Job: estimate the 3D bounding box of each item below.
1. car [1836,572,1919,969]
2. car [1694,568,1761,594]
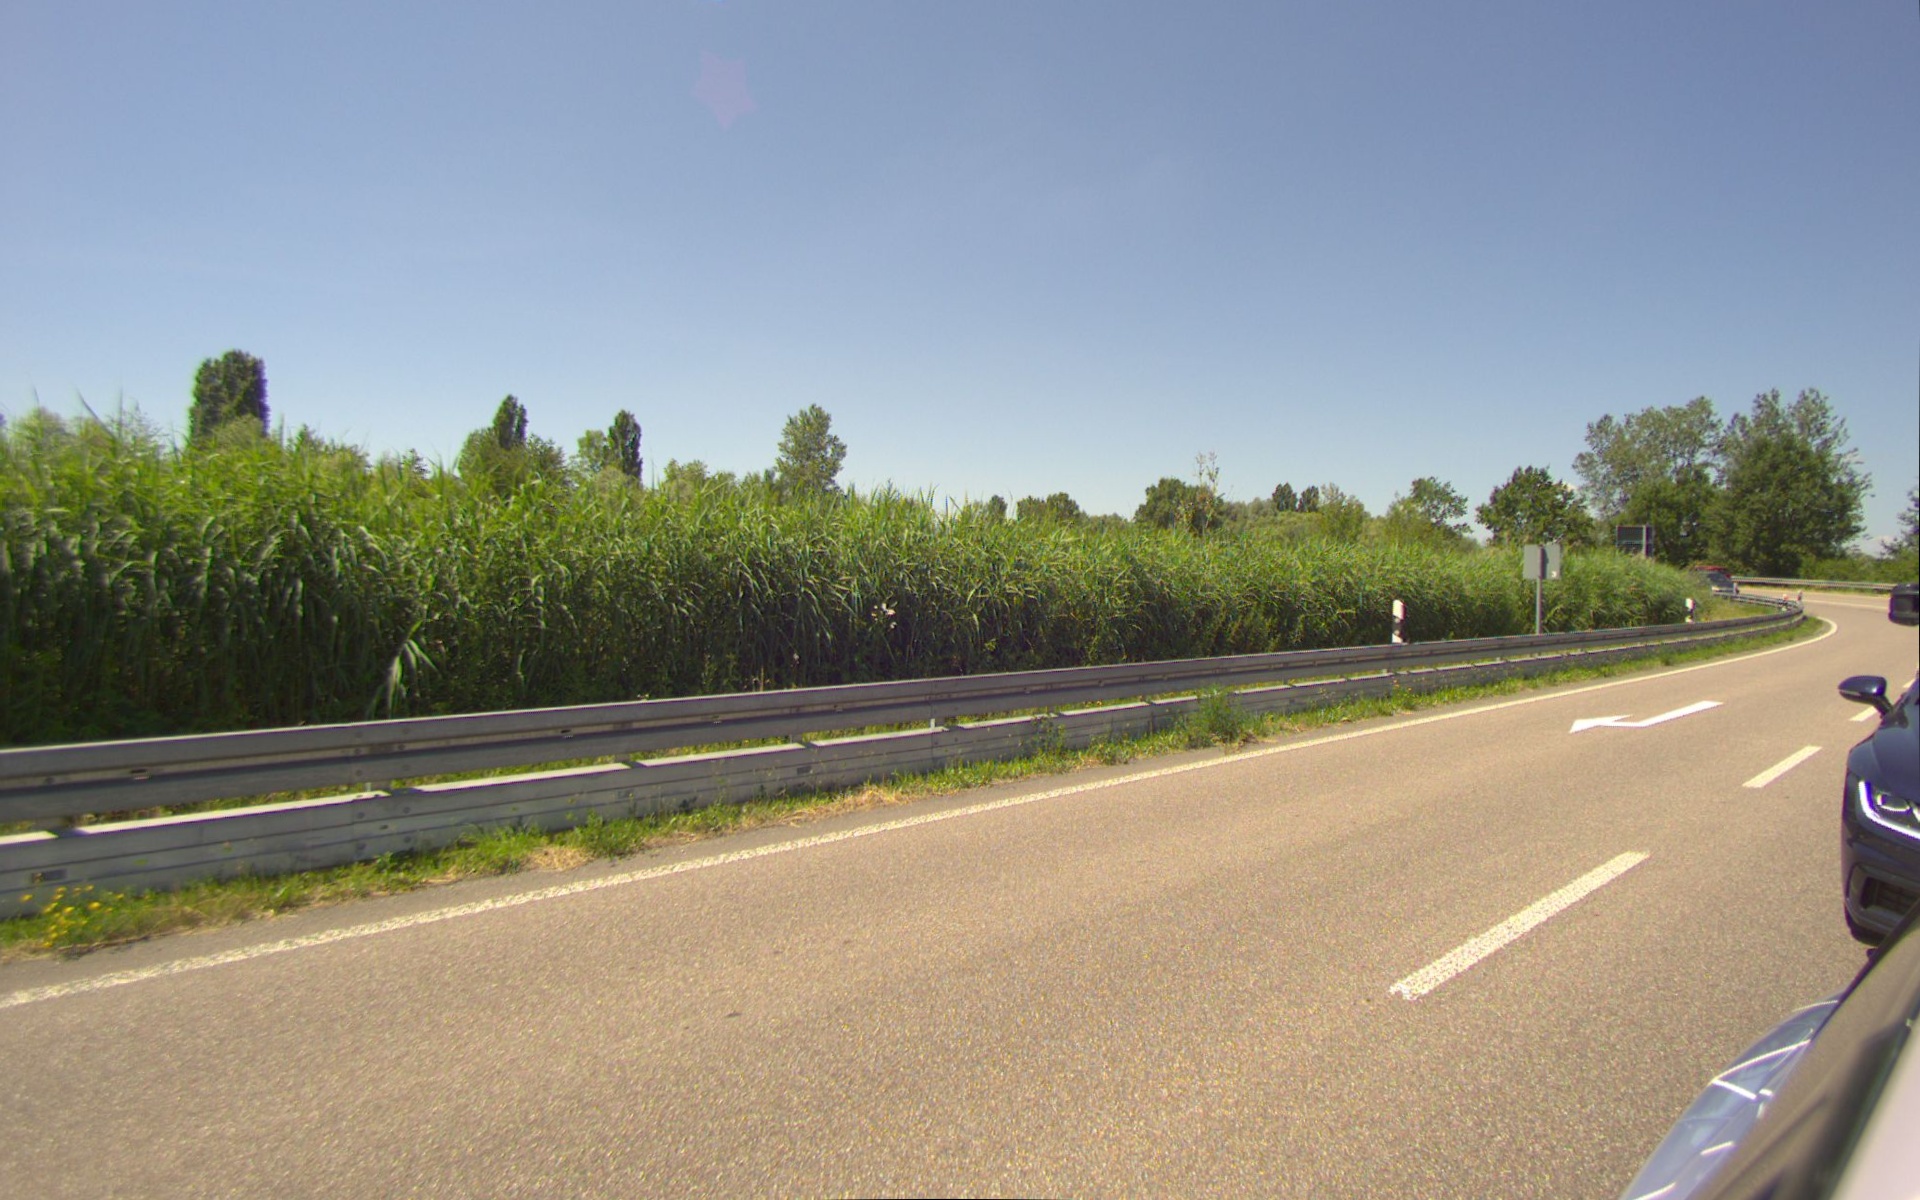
[{"bbox_3d":[5.650,0.624,4.685,4.338,1.481,1.818,-1,1,-41],"label":"car"},{"bbox_3d":[48.449,-1.231,63.974,1.643,1.620,3.550,0,1,4],"label":"car"}]
